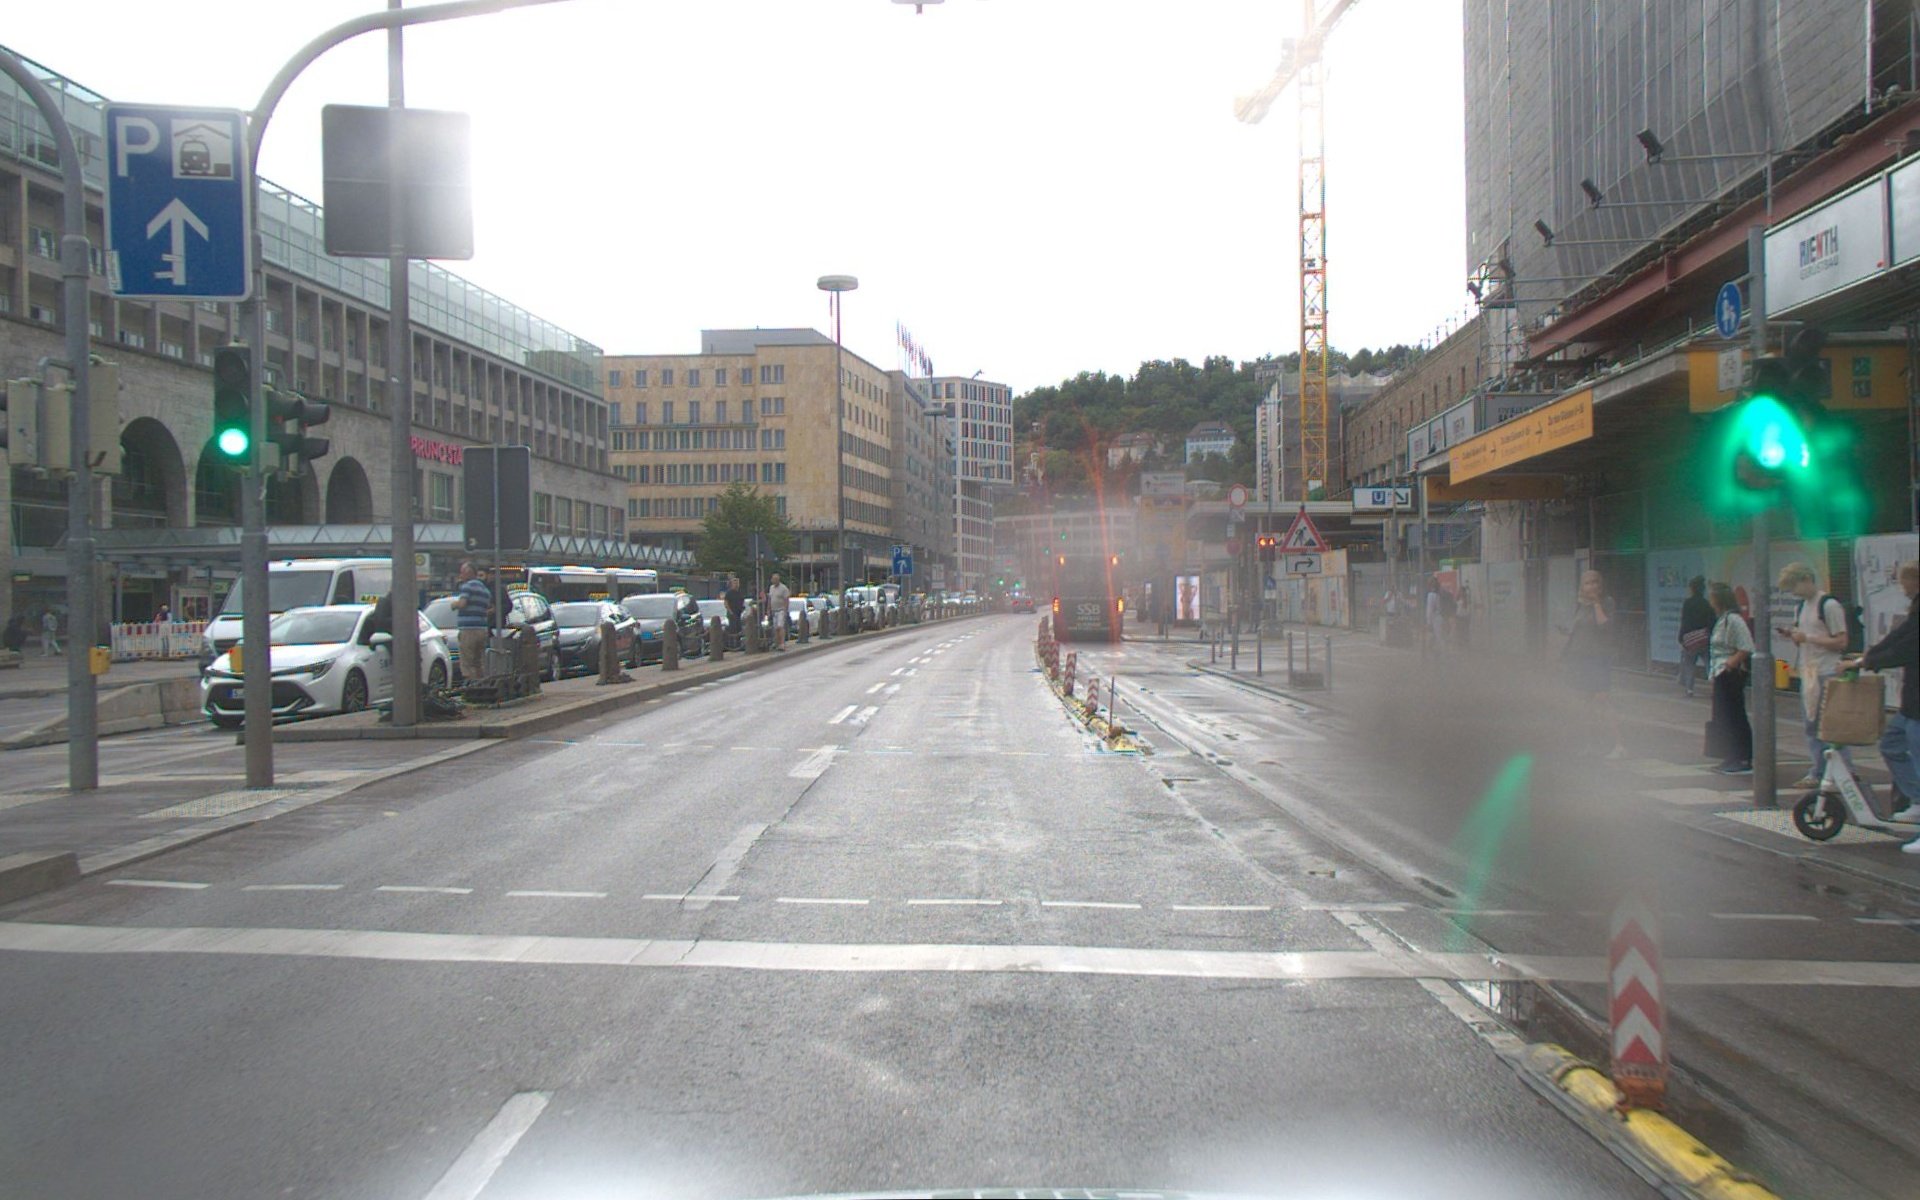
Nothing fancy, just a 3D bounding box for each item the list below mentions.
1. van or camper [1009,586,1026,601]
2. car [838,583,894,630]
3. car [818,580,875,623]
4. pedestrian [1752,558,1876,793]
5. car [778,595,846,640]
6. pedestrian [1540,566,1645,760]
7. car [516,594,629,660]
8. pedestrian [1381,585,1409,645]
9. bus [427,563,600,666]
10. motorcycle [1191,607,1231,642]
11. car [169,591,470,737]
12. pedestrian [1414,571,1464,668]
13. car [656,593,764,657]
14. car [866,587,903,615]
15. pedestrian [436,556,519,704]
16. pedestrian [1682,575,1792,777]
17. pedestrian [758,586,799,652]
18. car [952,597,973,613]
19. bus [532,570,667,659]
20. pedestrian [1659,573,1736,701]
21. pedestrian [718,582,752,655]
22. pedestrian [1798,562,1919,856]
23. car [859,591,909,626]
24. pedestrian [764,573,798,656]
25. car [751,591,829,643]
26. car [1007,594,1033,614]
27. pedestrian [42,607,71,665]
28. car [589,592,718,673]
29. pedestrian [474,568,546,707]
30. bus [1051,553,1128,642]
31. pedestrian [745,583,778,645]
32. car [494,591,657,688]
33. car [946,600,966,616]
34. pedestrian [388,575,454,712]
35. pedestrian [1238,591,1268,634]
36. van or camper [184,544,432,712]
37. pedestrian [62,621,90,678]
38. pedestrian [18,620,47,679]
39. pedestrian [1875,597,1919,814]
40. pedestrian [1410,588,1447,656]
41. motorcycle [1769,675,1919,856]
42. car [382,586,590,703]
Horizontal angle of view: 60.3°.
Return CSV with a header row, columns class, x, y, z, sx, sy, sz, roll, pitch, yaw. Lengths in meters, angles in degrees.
class,x,y,z,sx,sy,sz,roll,pitch,yaw
van or camper,8.358,-0.949,240.887,1.951,2.049,5.193,-1,0,7
car,-4.547,0.298,81.052,1.951,2.217,5.547,-1,0,5
car,-5.128,0.062,75.368,1.889,1.838,4.585,-2,0,4
pedestrian,6.749,0.578,13.096,0.546,1.782,0.712,-3,0,4
car,-5.696,0.643,64.184,1.889,1.604,5.054,-2,0,2
pedestrian,6.091,0.595,15.959,0.548,1.789,0.750,-3,0,-10
car,-11.099,0.746,47.663,1.889,1.720,4.684,-2,0,3
pedestrian,13.921,0.477,52.922,0.631,1.879,0.659,-3,0,3
bus,-16.159,0.456,60.815,2.817,3.435,10.579,-1,0,4
motorcycle,8.646,0.828,56.918,0.576,1.186,1.607,0,0,42
car,-8.179,0.731,21.691,1.973,1.649,4.843,-1,1,1
pedestrian,9.589,0.387,33.125,0.708,1.879,0.810,-3,0,3
car,-6.841,0.655,45.751,1.889,1.604,5.263,-2,0,3
car,-4.511,0.048,99.443,1.952,1.579,4.001,-1,0,1
pedestrian,-6.092,0.373,20.895,0.549,1.806,0.749,-3,0,37
pedestrian,6.724,0.639,14.332,0.546,1.669,0.752,-3,0,4
pedestrian,-5.048,0.531,46.138,1.028,1.799,0.617,-1,0,3
car,0.300,0.514,182.074,1.921,1.591,4.838,-3,1,4
bus,-15.373,0.551,71.515,2.817,3.520,10.579,-1,0,4
pedestrian,9.972,0.483,22.389,0.538,1.660,0.996,-3,0,3
pedestrian,-5.547,0.448,40.792,0.684,1.785,0.712,-1,0,3
pedestrian,5.813,0.657,10.389,0.576,1.771,0.810,-1,0,-39
car,-3.954,0.420,86.480,1.951,1.752,4.785,-1,0,5
pedestrian,-4.408,0.349,40.769,0.708,2.043,0.773,0,0,3
car,-5.938,0.586,58.396,1.935,1.688,5.194,-2,0,2
car,5.093,0.342,140.453,1.951,1.579,4.002,-1,0,5
pedestrian,-32.389,1.276,59.296,0.563,2.049,0.709,-1,0,2
car,-7.104,0.727,38.863,1.889,1.720,4.684,-2,0,3
pedestrian,-6.103,0.502,22.453,0.767,1.806,0.605,-3,0,-9
bus,4.862,-0.088,62.696,2.697,3.122,9.084,0,0,4
pedestrian,-5.365,0.367,44.671,0.707,1.634,0.996,1,1,3
car,-7.523,0.729,32.860,1.889,1.720,4.684,-2,0,3
car,-0.457,0.893,190.694,1.921,1.591,4.838,-3,1,4
pedestrian,-7.011,0.554,21.517,0.637,1.741,0.593,1,0,2
pedestrian,11.458,0.475,64.663,0.890,1.664,0.826,-1,0,31
van or camper,-11.237,0.423,29.019,1.952,2.558,5.371,-3,0,2
pedestrian,-32.282,1.804,60.395,0.563,2.049,0.709,-1,0,2
pedestrian,-33.019,1.757,58.889,0.563,2.049,0.709,-1,0,2
pedestrian,6.832,0.719,11.453,0.546,1.474,0.712,-3,0,4
pedestrian,11.125,0.510,39.281,0.637,1.566,0.665,-3,0,4
motorcycle,5.827,1.021,10.378,0.581,1.039,1.222,-1,0,-39
car,-7.846,0.692,27.881,1.889,1.720,4.684,-2,0,3
